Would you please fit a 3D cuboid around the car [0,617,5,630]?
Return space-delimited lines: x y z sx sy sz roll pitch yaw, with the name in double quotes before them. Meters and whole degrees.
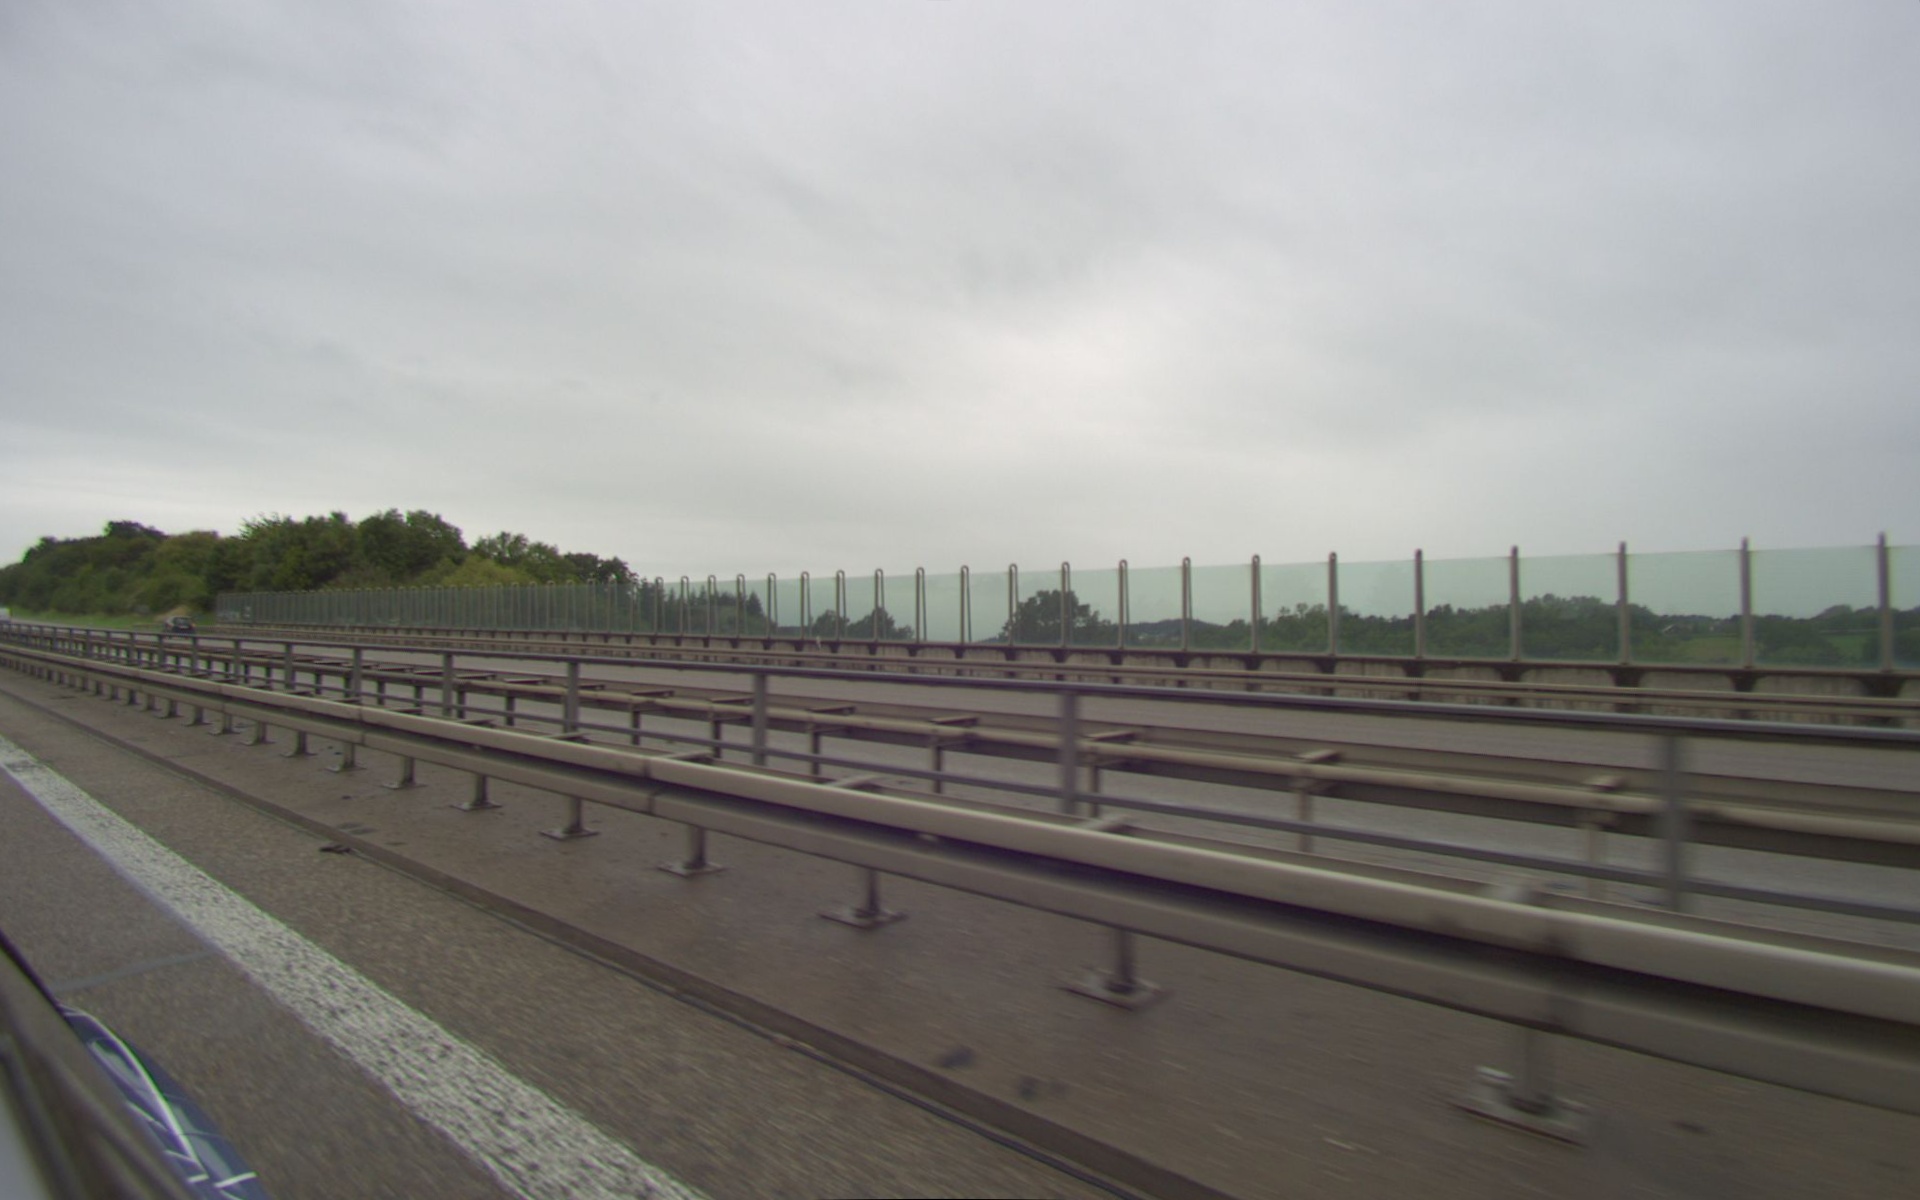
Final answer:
"car" -114.439 2.755 119.828 3.858 1.548 1.666 -1 -2 41

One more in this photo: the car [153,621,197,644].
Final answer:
"car" -53.553 2.206 69.006 3.858 1.508 1.666 -1 -2 41
